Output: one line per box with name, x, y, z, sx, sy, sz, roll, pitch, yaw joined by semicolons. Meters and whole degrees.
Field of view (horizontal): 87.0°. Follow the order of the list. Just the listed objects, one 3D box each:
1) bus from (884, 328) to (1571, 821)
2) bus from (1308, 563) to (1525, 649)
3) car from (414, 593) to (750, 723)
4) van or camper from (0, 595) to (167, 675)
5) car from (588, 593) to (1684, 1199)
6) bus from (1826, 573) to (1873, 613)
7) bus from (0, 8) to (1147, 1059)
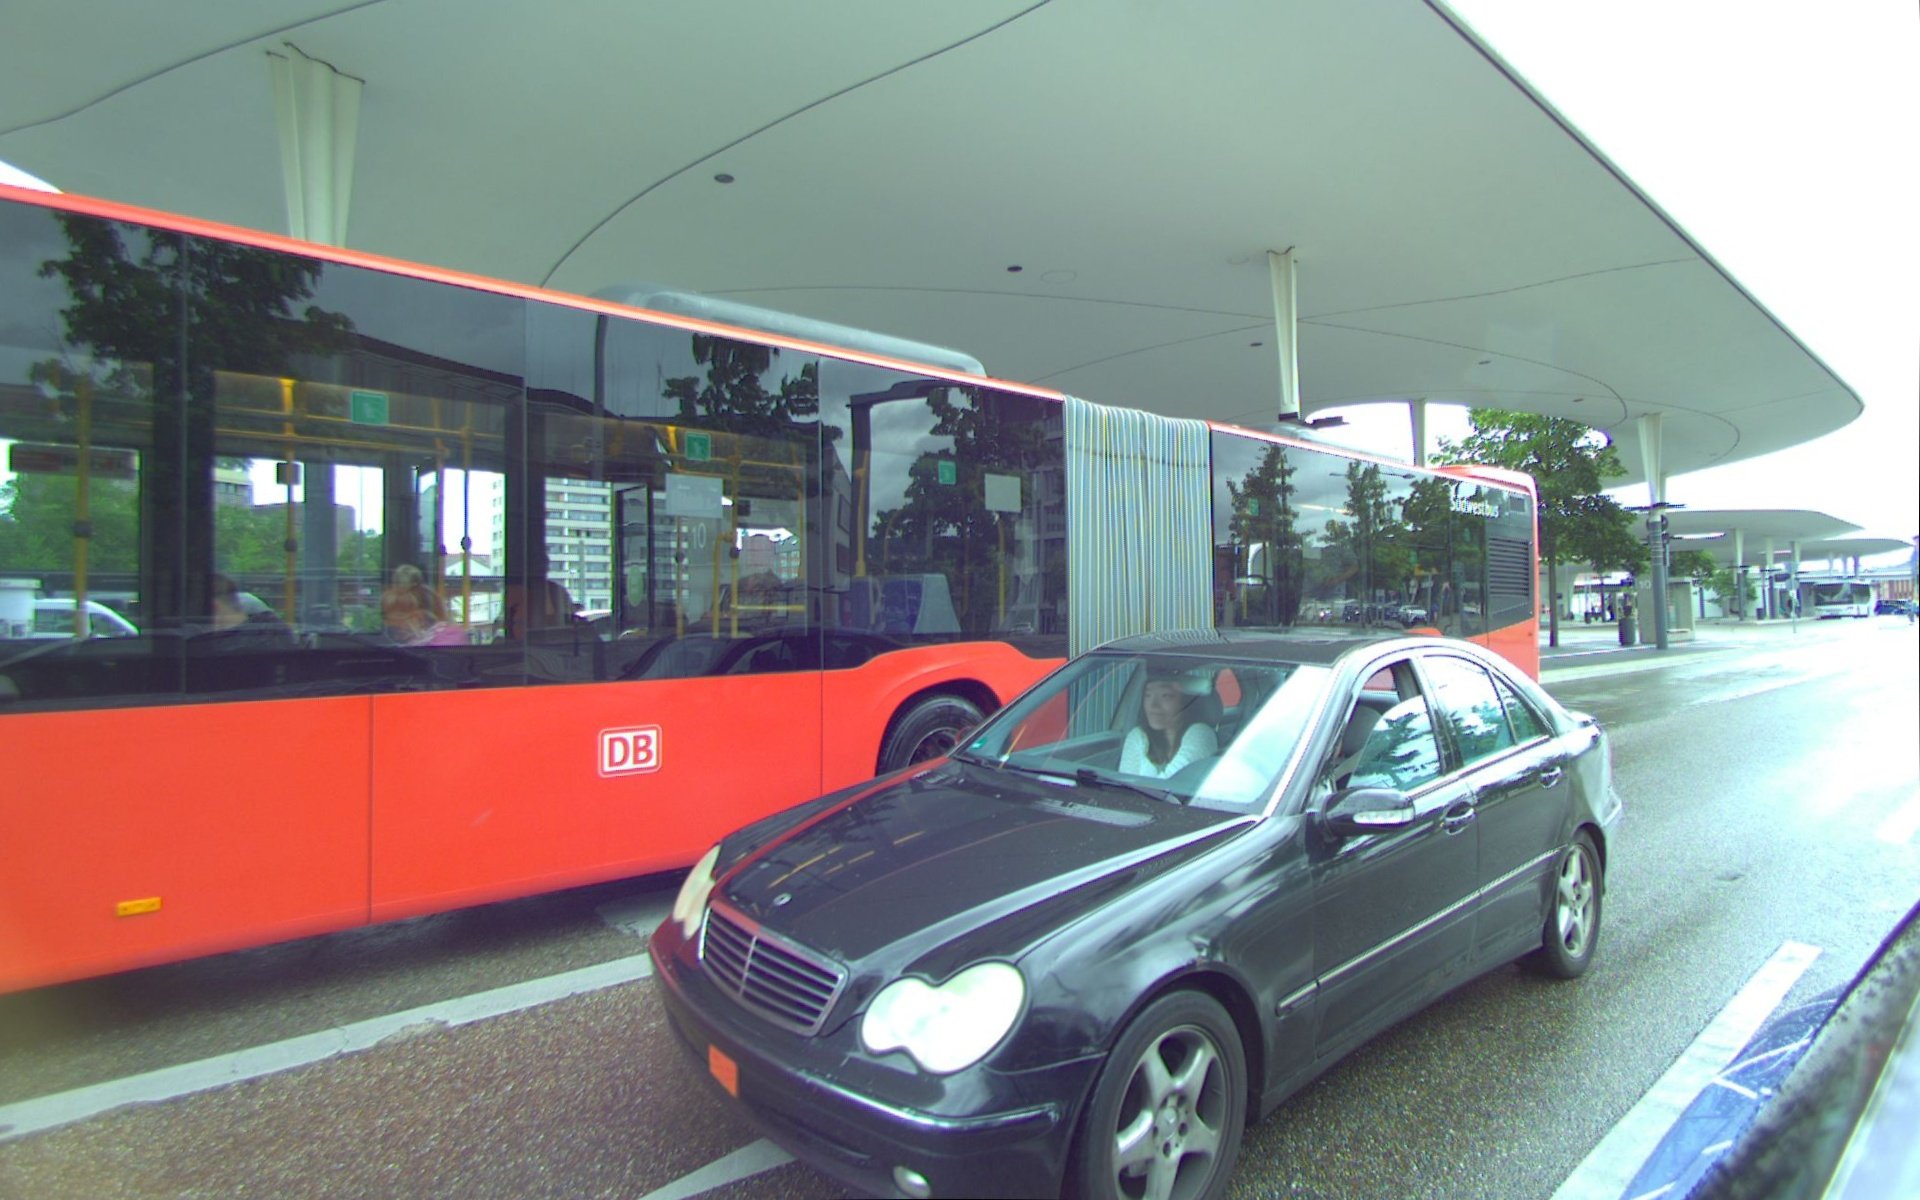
bus;3.241;-0.176;10.272;7.978;3.214;2.747;0;0;-41
bus;20.020;0.237;43.811;12.128;3.148;3.001;-1;-5;-38
car;-5.525;0.767;15.114;4.356;1.670;1.803;0;-2;-41
van or camper;-29.790;1.102;33.209;5.868;2.495;2.106;0;-1;-41
car;1.082;0.772;3.856;4.358;1.499;1.748;-1;-2;-41
bus;75.367;-0.550;85.681;2.666;3.169;9.565;-1;-1;43
bus;-3.428;-0.206;4.484;10.016;3.214;2.747;0;0;-41
